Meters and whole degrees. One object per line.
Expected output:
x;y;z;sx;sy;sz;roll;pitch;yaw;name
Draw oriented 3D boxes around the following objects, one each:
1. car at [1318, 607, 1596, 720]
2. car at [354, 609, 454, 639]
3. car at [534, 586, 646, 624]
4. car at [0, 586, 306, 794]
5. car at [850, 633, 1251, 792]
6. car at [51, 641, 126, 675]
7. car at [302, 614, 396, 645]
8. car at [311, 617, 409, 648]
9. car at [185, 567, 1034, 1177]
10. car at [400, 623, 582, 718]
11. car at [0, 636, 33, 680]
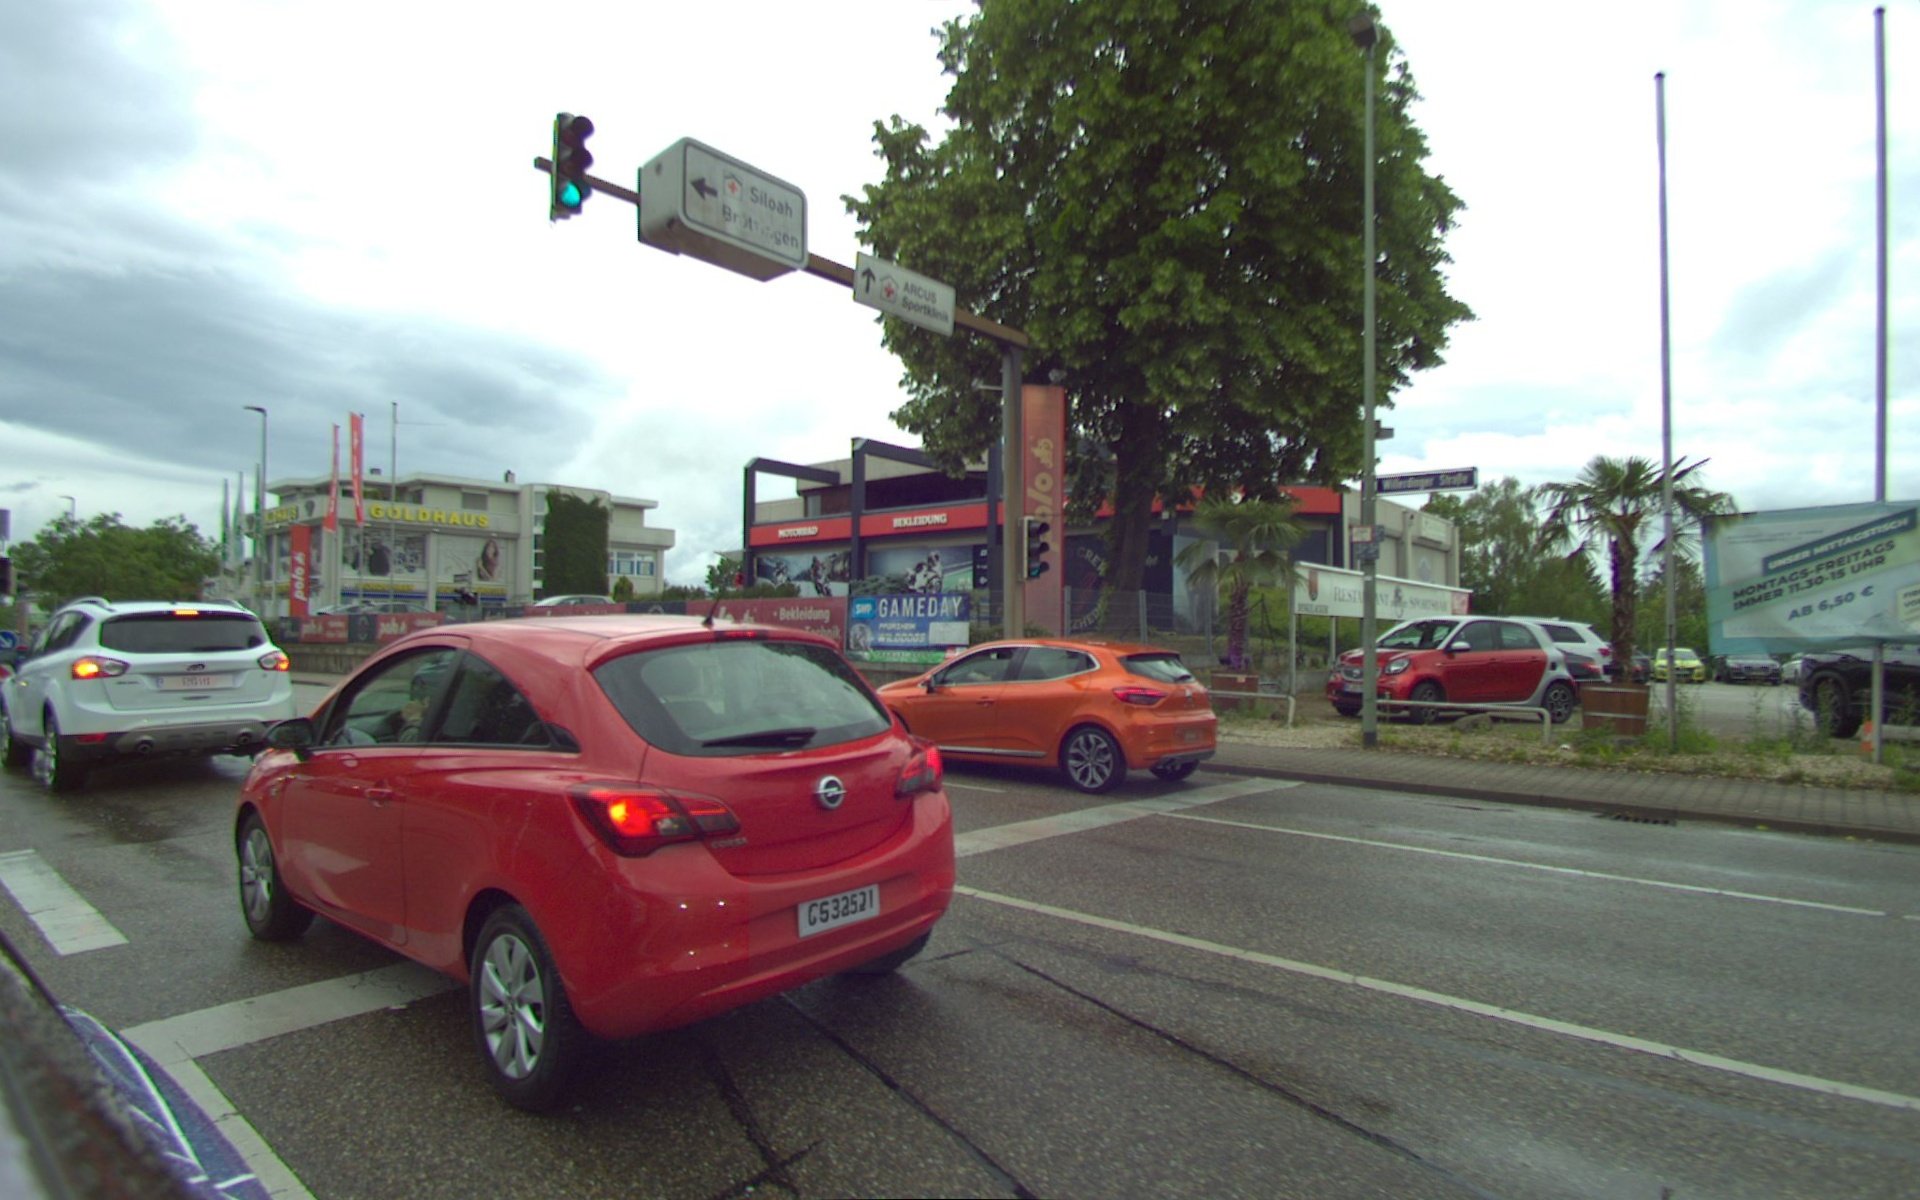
7.310;0.919;14.934;3.556;1.515;1.671;2;-2;-20;car
-23.150;1.017;42.228;1.452;1.176;3.352;-3;-3;39;car
-12.555;0.208;34.471;1.452;1.176;3.352;-3;-3;39;car
-8.360;0.801;10.203;4.294;1.662;1.820;-2;-3;41;car
0.798;1.042;10.444;3.944;1.342;1.606;-2;-4;41;car
-38.073;2.513;44.183;4.123;1.390;1.897;-2;-4;41;car
-27.555;1.356;45.688;1.454;1.347;3.349;-3;-3;42;car
-25.950;1.410;43.858;1.452;1.287;3.352;-3;-3;39;car
-1.824;0.671;4.386;4.142;1.445;1.615;0;-2;41;car
-8.994;1.304;19.300;3.998;1.630;1.658;-3;-4;41;car
-38.112;2.279;39.863;4.294;1.662;1.820;-2;-4;41;car
